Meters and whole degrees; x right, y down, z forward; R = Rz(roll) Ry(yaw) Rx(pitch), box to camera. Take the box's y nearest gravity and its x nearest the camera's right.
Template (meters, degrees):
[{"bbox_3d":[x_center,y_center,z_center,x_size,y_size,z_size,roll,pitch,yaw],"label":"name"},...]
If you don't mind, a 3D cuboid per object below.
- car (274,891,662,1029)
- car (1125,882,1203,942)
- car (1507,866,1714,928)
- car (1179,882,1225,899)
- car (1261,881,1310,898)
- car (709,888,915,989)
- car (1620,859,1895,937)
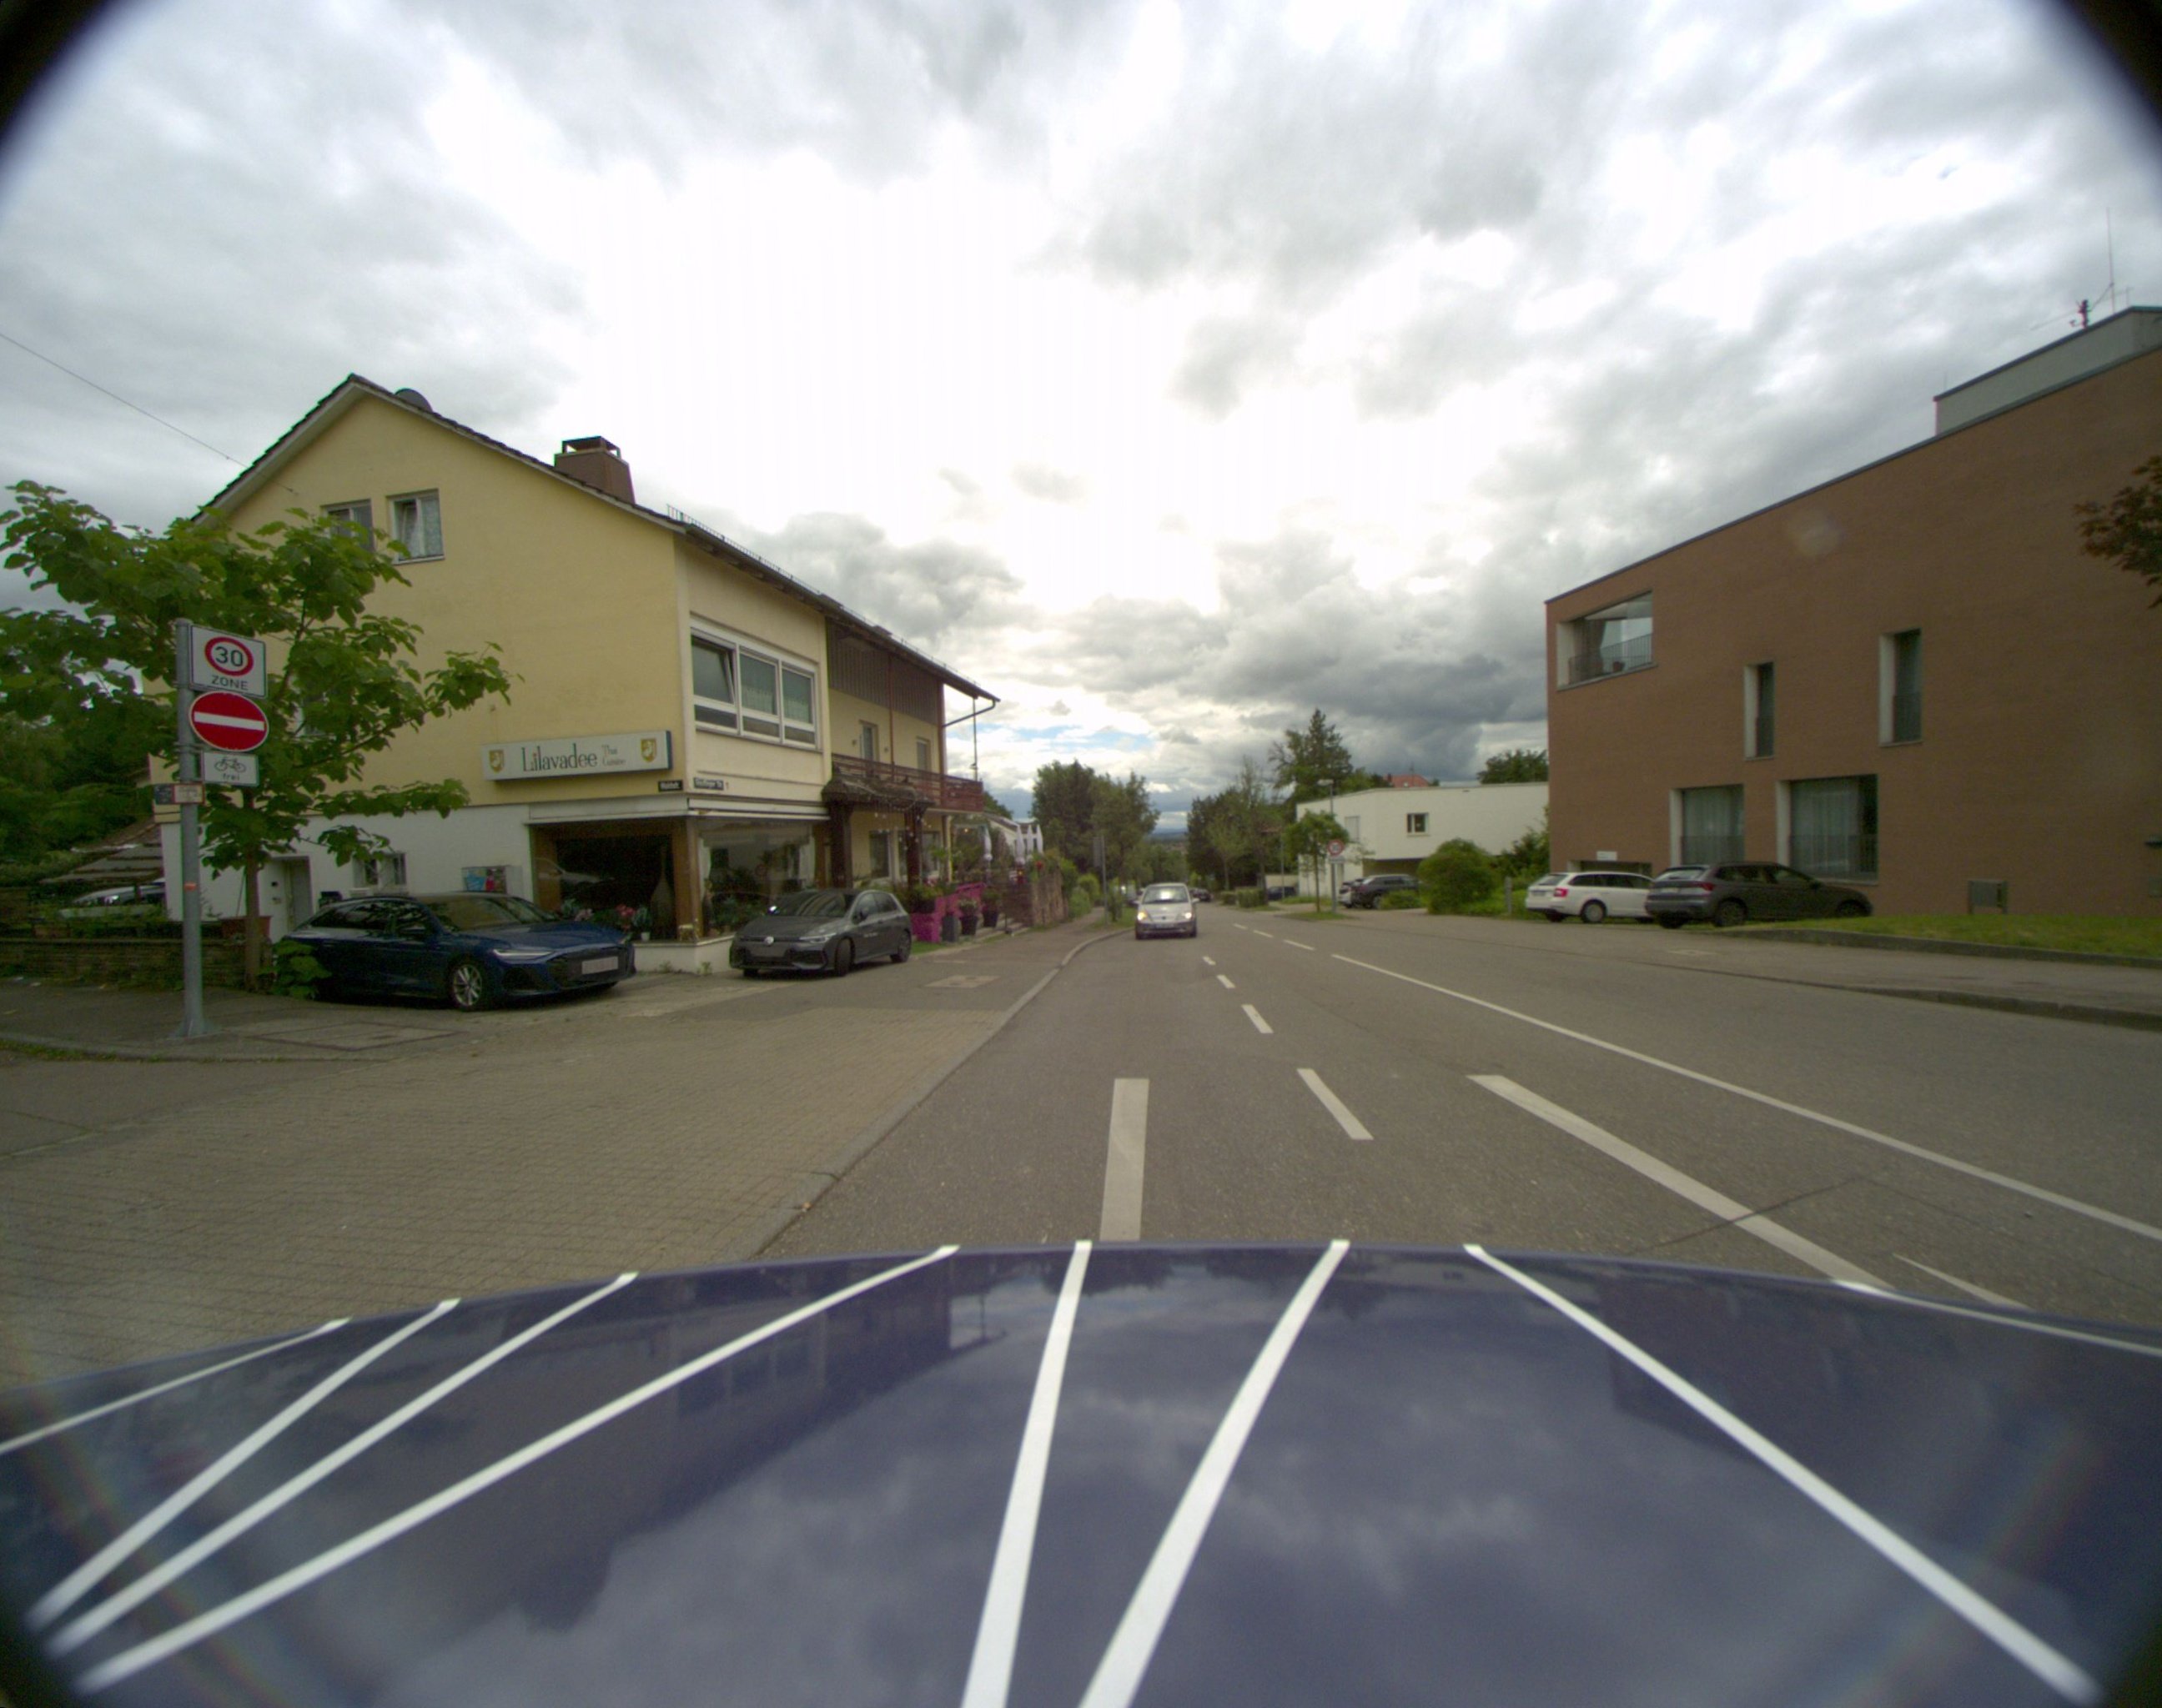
[{"bbox_3d":[-8.070,1.288,10.109,4.220,1.519,1.935,-1,-2,16],"label":"car"},{"bbox_3d":[2.581,1.694,22.768,1.997,1.585,4.005,-3,-3,10],"label":"car"},{"bbox_3d":[14.787,1.170,21.404,4.433,1.548,2.000,-1,-1,-1],"label":"car"},{"bbox_3d":[12.621,3.809,79.284,4.433,1.549,2.000,-2,0,-1],"label":"car"},{"bbox_3d":[20.928,3.618,77.947,4.433,1.548,2.000,-1,-1,-1],"label":"car"},{"bbox_3d":[-4.497,1.380,13.371,1.873,1.483,3.887,-2,-3,7],"label":"car"},{"bbox_3d":[15.084,0.949,17.141,4.433,1.548,2.000,-1,-1,-1],"label":"car"}]
